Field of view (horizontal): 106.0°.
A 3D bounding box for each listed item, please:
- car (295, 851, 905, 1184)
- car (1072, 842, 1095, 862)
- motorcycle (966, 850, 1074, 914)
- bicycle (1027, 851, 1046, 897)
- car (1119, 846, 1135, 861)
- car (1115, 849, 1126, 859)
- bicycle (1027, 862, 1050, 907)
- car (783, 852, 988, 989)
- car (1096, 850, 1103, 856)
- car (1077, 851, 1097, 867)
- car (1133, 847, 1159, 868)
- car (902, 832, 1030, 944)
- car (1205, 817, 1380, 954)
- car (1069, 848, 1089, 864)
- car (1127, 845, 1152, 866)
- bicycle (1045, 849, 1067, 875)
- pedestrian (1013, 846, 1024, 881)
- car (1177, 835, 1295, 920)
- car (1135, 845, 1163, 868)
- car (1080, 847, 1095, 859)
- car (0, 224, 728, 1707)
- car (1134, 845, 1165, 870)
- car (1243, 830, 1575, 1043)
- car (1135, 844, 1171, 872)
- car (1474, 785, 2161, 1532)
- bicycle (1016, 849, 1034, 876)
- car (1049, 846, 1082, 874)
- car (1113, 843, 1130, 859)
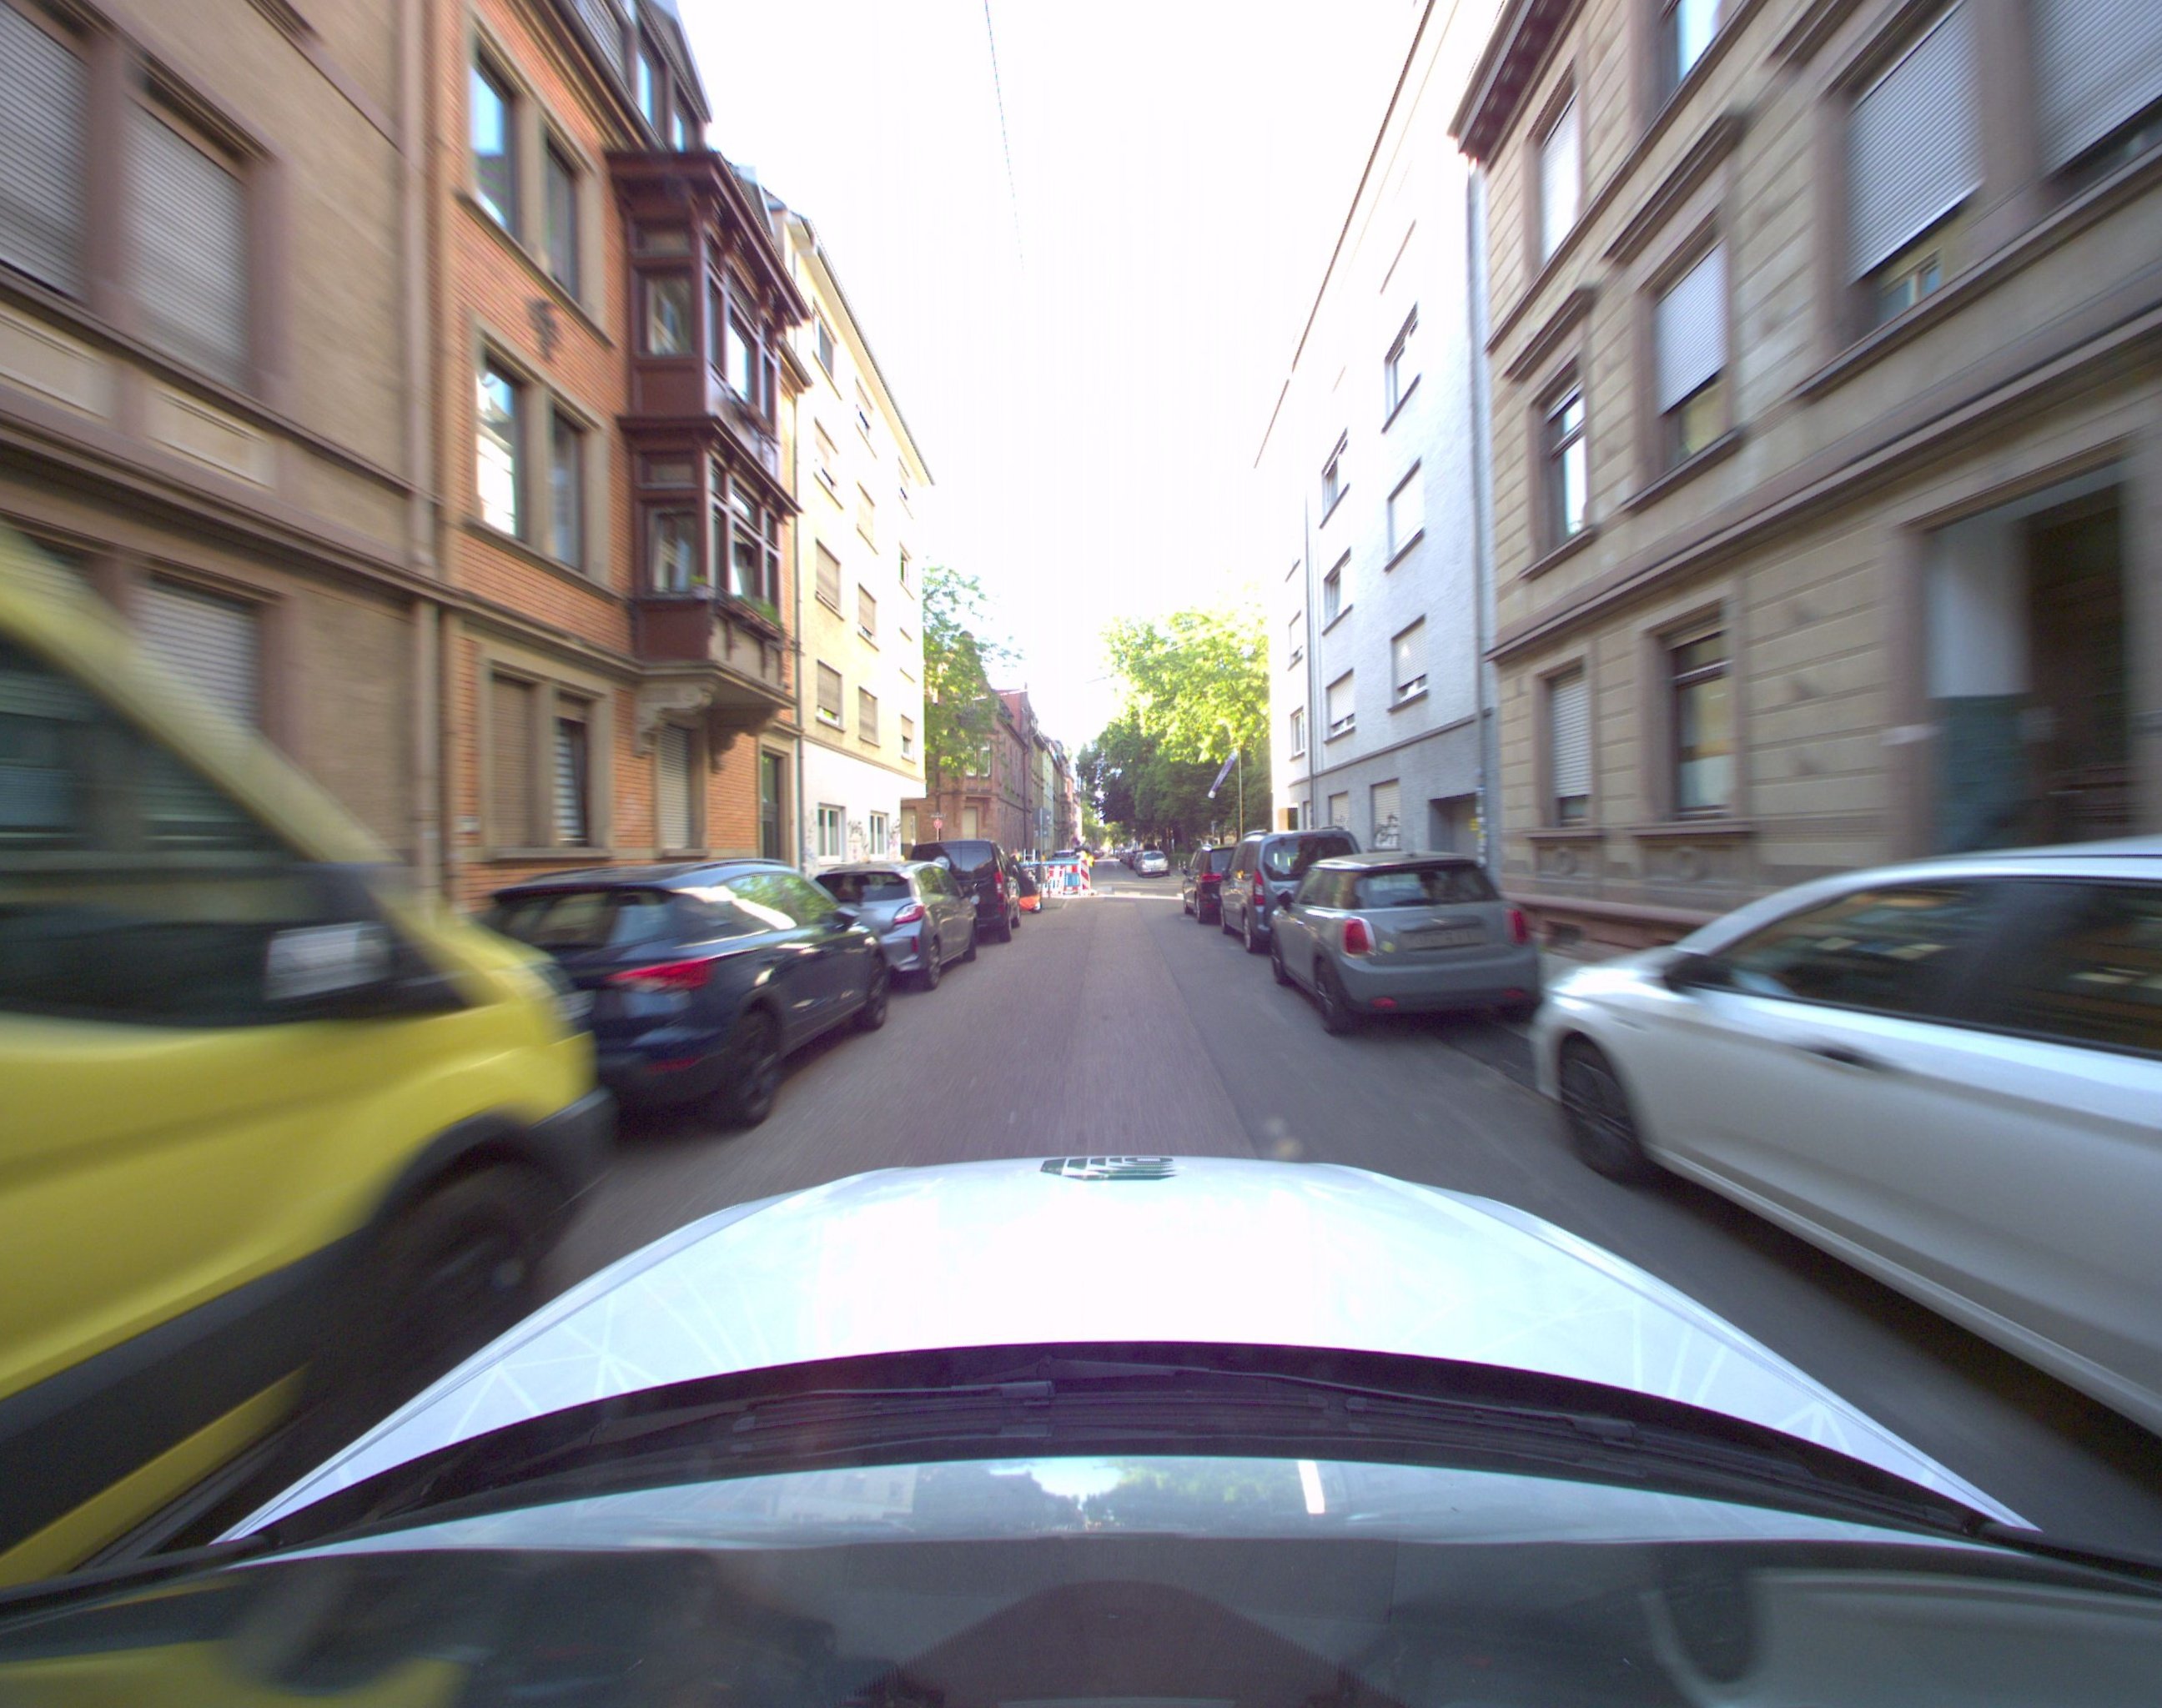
[{"bbox_3d":[-2.803,0.796,6.006,1.986,1.552,4.001,-2,1,1],"label":"car"},{"bbox_3d":[0.338,-0.195,92.100,2.299,2.114,5.174,-2,0,3],"label":"car"},{"bbox_3d":[-1.522,0.659,20.392,2.524,1.482,0.896,-1,0,-25],"label":"motorcycle"},{"bbox_3d":[-1.265,0.566,23.510,0.398,1.227,1.505,-2,2,1],"label":"bicycle"},{"bbox_3d":[5.650,-0.086,99.983,1.823,1.703,4.001,-1,0,1],"label":"car"},{"bbox_3d":[7.624,0.030,157.152,1.986,1.728,4.002,-2,1,1],"label":"car"},{"bbox_3d":[-1.140,0.806,22.229,0.423,1.140,1.667,1,0,3],"label":"bicycle"},{"bbox_3d":[-2.327,0.721,10.649,1.670,1.449,3.646,-1,0,2],"label":"car"},{"bbox_3d":[5.503,-0.296,239.650,1.986,1.647,4.001,-1,0,2],"label":"car"},{"bbox_3d":[0.667,0.466,83.538,1.986,1.574,4.001,-1,0,1],"label":"car"},{"bbox_3d":[5.095,0.237,64.259,1.834,1.596,4.001,-1,0,1],"label":"car"},{"bbox_3d":[-1.997,0.540,15.406,1.813,1.766,4.334,-1,0,-1],"label":"car"},{"bbox_3d":[3.307,0.408,13.713,1.747,1.786,4.726,-4,1,2],"label":"car"},{"bbox_3d":[-0.161,0.168,74.786,1.765,1.353,4.001,-1,0,1],"label":"car"},{"bbox_3d":[4.939,0.126,69.097,1.887,1.625,4.001,-1,0,1],"label":"car"},{"bbox_3d":[-1.354,0.444,44.442,0.683,1.345,2.491,-1,0,-13],"label":"bicycle"},{"bbox_3d":[-3.185,0.481,41.598,0.523,1.740,0.557,-1,0,-3],"label":"pedestrian"},{"bbox_3d":[3.342,0.467,18.382,1.893,1.640,4.392,-1,0,1],"label":"car"},{"bbox_3d":[4.901,0.171,59.068,1.735,1.574,4.001,-1,0,1],"label":"car"},{"bbox_3d":[0.909,-0.073,112.743,1.896,1.574,4.001,-1,0,1],"label":"car"},{"bbox_3d":[-2.691,0.359,0.401,2.167,2.507,5.880,-4,0,2],"label":"car"},{"bbox_3d":[4.444,0.237,53.433,1.717,1.522,4.001,-1,0,1],"label":"car"},{"bbox_3d":[2.891,0.590,8.278,1.746,1.452,4.292,-6,1,3],"label":"car"},{"bbox_3d":[4.196,0.232,47.902,1.718,1.522,3.999,-2,1,-1],"label":"car"},{"bbox_3d":[3.118,0.598,2.379,1.748,1.518,4.444,-6,1,1],"label":"car"},{"bbox_3d":[-3.067,0.459,45.019,0.680,1.423,2.799,-1,0,2],"label":"bicycle"},{"bbox_3d":[-0.982,0.361,54.057,1.874,1.707,4.003,-3,0,3],"label":"car"},{"bbox_3d":[5.923,-0.435,119.559,2.153,2.255,4.526,-1,0,1],"label":"car"}]
